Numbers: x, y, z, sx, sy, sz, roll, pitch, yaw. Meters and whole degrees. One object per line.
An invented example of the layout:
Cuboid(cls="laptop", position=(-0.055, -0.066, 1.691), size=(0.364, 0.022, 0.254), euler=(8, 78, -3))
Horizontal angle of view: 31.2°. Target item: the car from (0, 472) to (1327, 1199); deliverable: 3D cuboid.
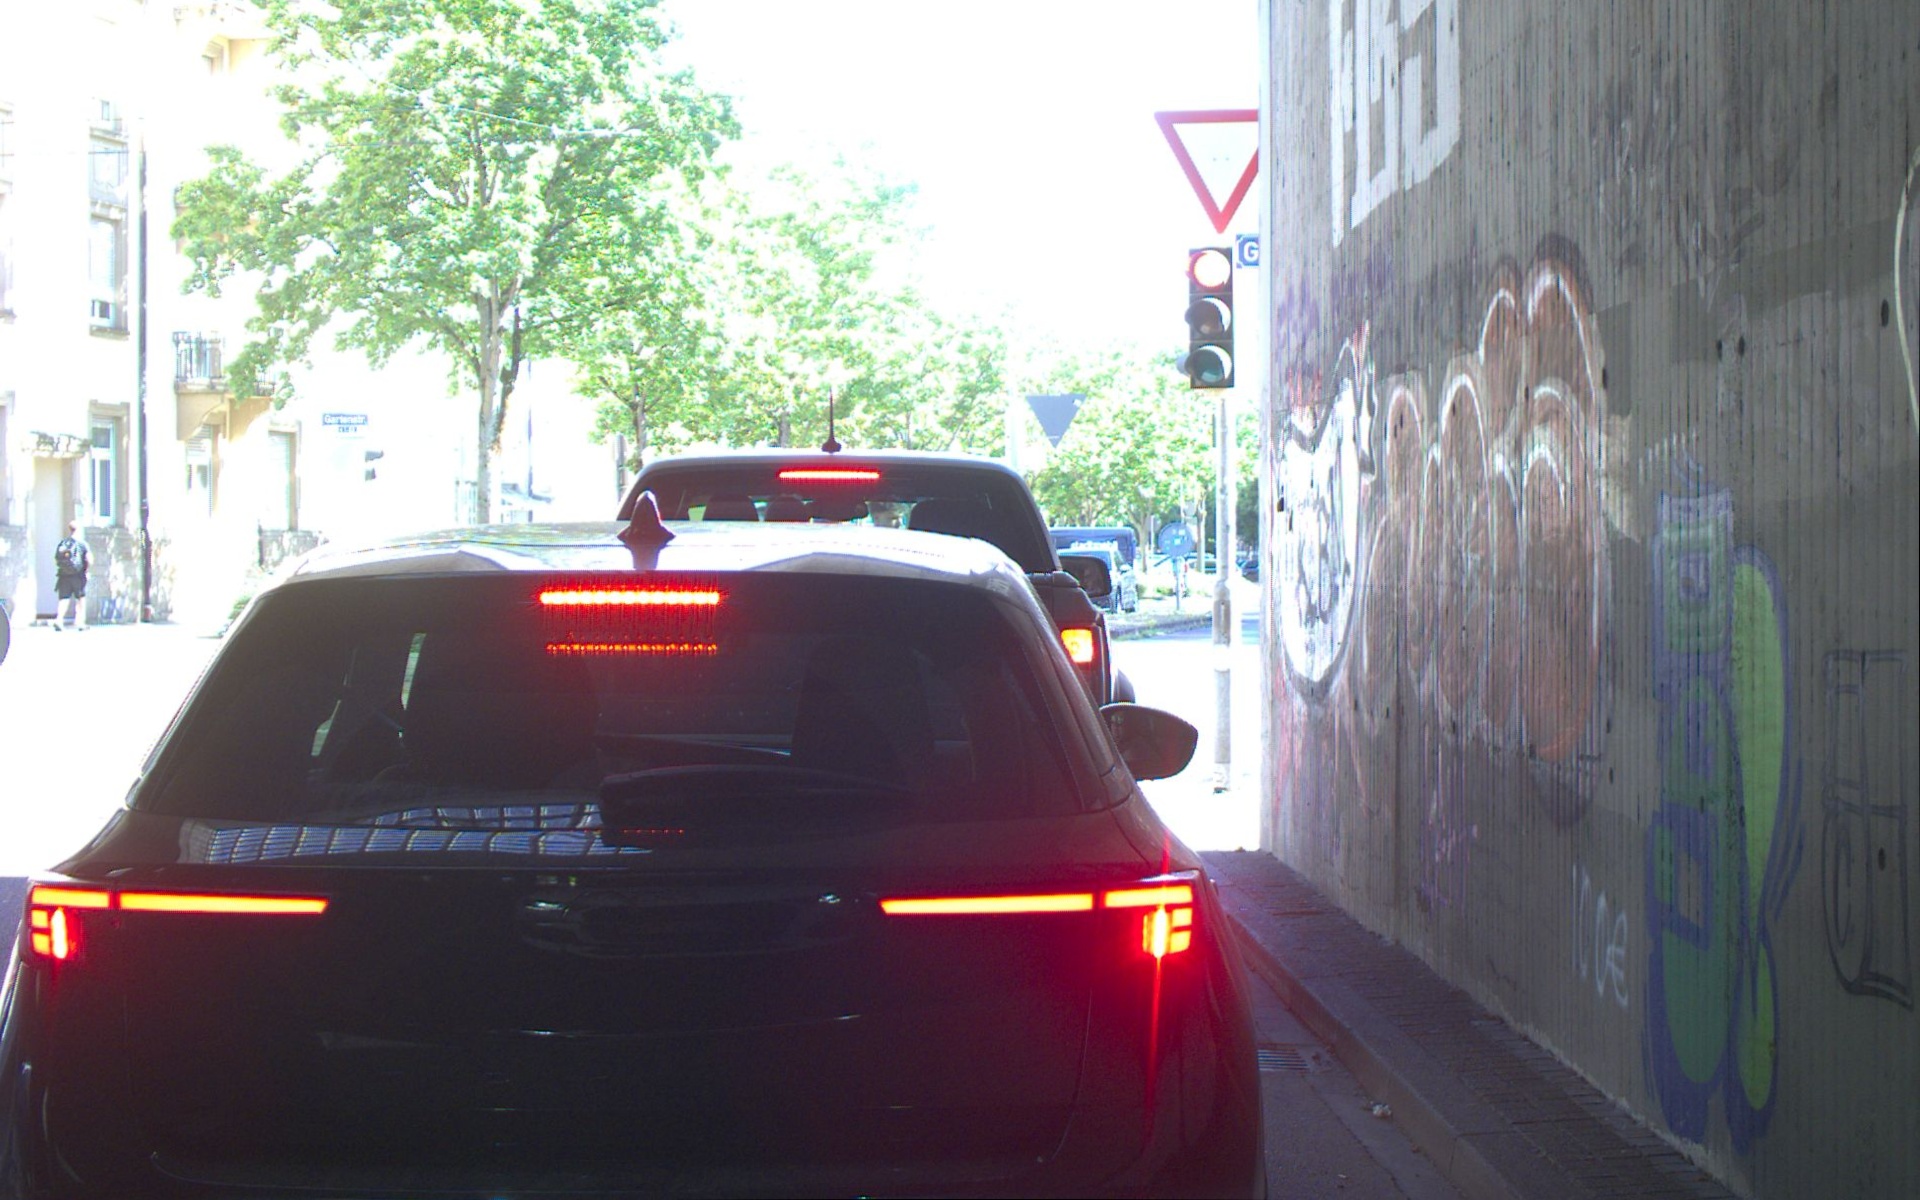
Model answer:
Cuboid(cls="car", position=(-0.487, 0.572, 6.034), size=(1.764, 1.566, 4.001), euler=(1, 2, -1))

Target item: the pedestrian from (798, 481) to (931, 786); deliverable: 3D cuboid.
Cuboid(cls="pedestrian", position=(-0.550, 0.187, 20.047), size=(0.731, 1.728, 0.874), euler=(1, 0, -1))

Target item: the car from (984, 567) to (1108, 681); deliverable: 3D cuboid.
Cuboid(cls="car", position=(1.591, 0.407, 62.302), size=(1.994, 1.963, 4.163), euler=(1, 1, 5))

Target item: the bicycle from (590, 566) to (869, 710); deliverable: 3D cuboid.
Cuboid(cls="bicycle", position=(-1.737, 0.286, 26.041), size=(1.990, 1.046, 0.718), euler=(-1, 0, 7))

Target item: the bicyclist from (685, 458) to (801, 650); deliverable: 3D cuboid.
Cuboid(cls="bicyclist", position=(-1.635, -0.347, 26.028), size=(0.738, 1.418, 0.685), euler=(-1, 0, 6))

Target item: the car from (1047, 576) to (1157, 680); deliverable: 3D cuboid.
Cuboid(cls="car", position=(2.860, 0.517, 68.373), size=(1.994, 1.963, 4.163), euler=(1, 1, 5))

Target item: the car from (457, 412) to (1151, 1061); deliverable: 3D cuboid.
Cuboid(cls="car", position=(-0.471, 0.356, 11.944), size=(1.993, 1.865, 4.000), euler=(0, 1, -1))

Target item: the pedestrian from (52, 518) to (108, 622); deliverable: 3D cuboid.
Cuboid(cls="pedestrian", position=(-13.875, -0.473, 54.219), size=(0.672, 1.632, 0.740), euler=(1, 0, -1))
